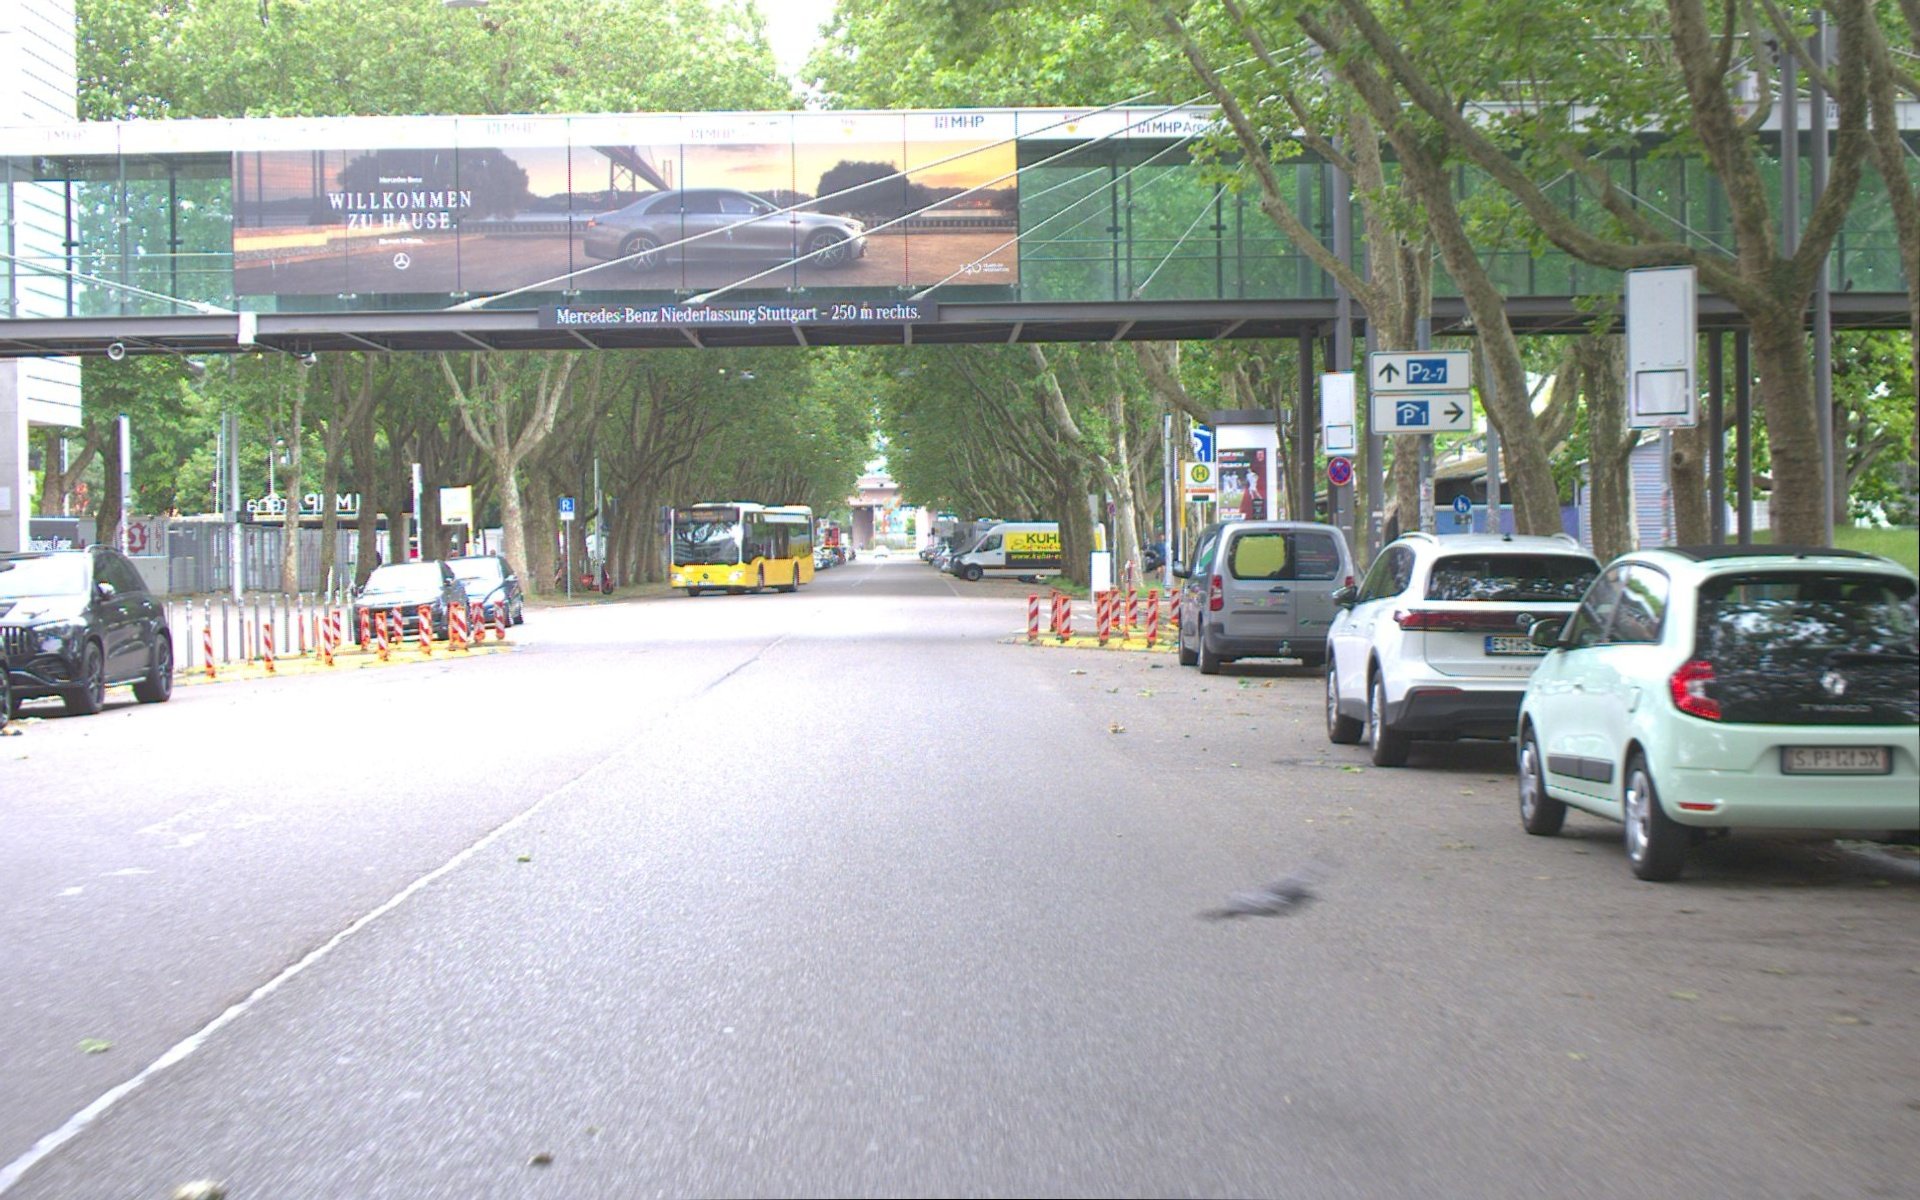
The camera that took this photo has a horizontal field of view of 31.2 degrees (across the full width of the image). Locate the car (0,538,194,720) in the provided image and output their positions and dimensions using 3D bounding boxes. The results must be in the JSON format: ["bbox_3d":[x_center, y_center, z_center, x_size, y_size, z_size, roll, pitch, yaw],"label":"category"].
[{"bbox_3d":[-9.900,0.286,37.251,2.034,1.783,4.908,-4,1,0],"label":"car"}]

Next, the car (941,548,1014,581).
[{"bbox_3d":[0.944,-1.964,190.371,3.987,1.788,1.543,-1,1,-1],"label":"car"}]

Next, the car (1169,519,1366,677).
[{"bbox_3d":[3.639,-0.060,41.534,1.847,1.777,5.211,1,1,-1],"label":"car"}]

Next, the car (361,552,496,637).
[{"bbox_3d":[-10.180,-0.140,66.126,1.858,1.448,4.449,-4,1,0],"label":"car"}]

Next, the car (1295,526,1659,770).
[{"bbox_3d":[3.682,0.292,25.322,1.914,1.612,4.749,-1,1,0],"label":"car"}]

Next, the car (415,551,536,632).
[{"bbox_3d":[-10.529,-0.202,75.002,1.993,1.579,4.113,-4,1,0],"label":"car"}]

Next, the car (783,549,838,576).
[{"bbox_3d":[-11.112,-2.760,255.637,3.987,1.963,2.000,-1,1,0],"label":"car"}]

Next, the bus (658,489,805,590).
[{"bbox_3d":[-7.773,-2.087,119.022,3.039,3.149,12.675,-3,1,5],"label":"bus"}]

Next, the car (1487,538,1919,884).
[{"bbox_3d":[3.897,0.465,17.313,1.807,1.521,4.096,-1,1,0],"label":"car"}]

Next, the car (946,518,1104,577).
[{"bbox_3d":[2.847,-2.324,151.689,6.822,2.505,2.317,-1,1,-2],"label":"car"}]

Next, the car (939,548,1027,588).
[{"bbox_3d":[1.065,-1.479,159.141,3.987,1.788,1.543,-1,1,-1],"label":"car"}]

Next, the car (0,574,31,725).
[{"bbox_3d":[-9.976,0.546,31.500,1.704,1.415,4.325,-3,1,0],"label":"car"}]

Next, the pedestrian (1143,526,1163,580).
[{"bbox_3d":[6.772,-1.662,120.633,0.572,1.881,0.617,-1,1,-9],"label":"pedestrian"}]

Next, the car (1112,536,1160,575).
[{"bbox_3d":[8.263,-2.081,161.380,1.993,1.766,4.000,-1,1,0],"label":"car"}]
